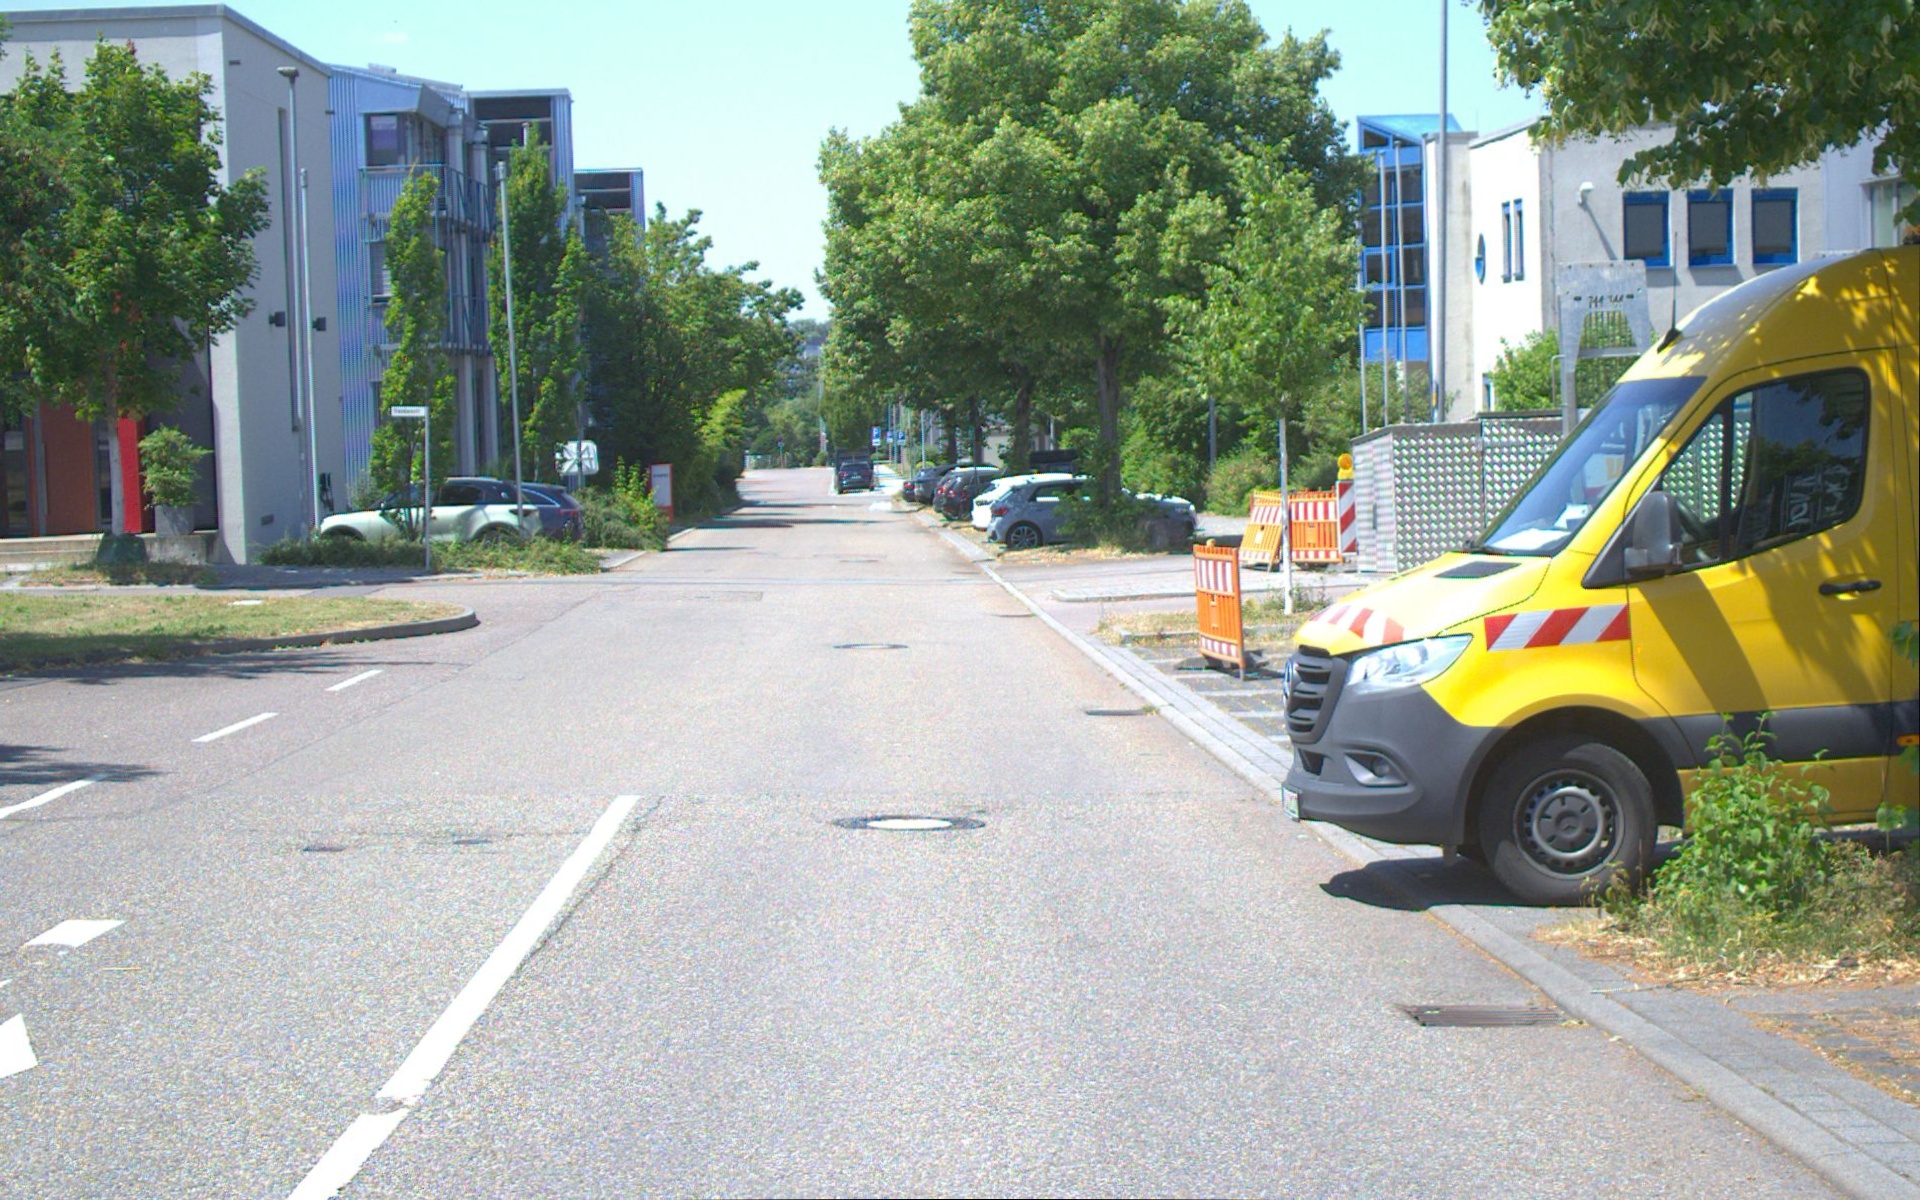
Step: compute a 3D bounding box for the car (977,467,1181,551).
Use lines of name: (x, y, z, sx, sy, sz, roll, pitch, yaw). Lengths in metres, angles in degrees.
car: (2.289, -1.783, 66.774, 3.678, 1.349, 1.646, -4, 2, -6)

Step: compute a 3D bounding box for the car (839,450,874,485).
car: (-5.340, -6.840, 177.464, 1.761, 1.749, 3.945, -1, 2, -1)

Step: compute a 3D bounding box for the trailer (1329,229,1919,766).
trailer: (4.291, -0.681, 21.828, 2.656, 2.847, 5.521, -4, 2, -5)

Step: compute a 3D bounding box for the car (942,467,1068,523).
car: (1.355, -3.193, 104.328, 3.721, 1.621, 1.814, -1, 2, -2)

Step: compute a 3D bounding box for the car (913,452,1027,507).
car: (0.370, -4.440, 126.256, 3.931, 1.828, 1.768, -2, 6, -9)

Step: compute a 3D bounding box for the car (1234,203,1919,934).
car: (4.225, -0.265, 14.476, 5.778, 2.723, 2.001, -3, 3, -3)

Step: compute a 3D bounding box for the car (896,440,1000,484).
car: (-0.481, -5.558, 138.259, 3.931, 1.572, 1.768, -2, 6, -9)

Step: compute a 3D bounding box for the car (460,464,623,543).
car: (-8.018, -1.857, 65.824, 3.057, 1.473, 1.293, -1, 2, -8)

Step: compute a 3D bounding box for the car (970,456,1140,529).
car: (2.104, -2.395, 76.492, 3.516, 1.349, 1.538, -4, 2, -6)

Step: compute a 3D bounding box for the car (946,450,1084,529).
car: (1.506, -3.073, 95.424, 3.721, 2.103, 1.814, -1, 2, -2)

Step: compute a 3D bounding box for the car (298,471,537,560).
car: (-9.623, -1.514, 61.264, 4.045, 1.489, 1.729, -1, 2, -4)

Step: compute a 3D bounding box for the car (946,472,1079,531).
car: (1.503, -2.832, 99.011, 3.721, 1.621, 1.814, -1, 2, -2)
